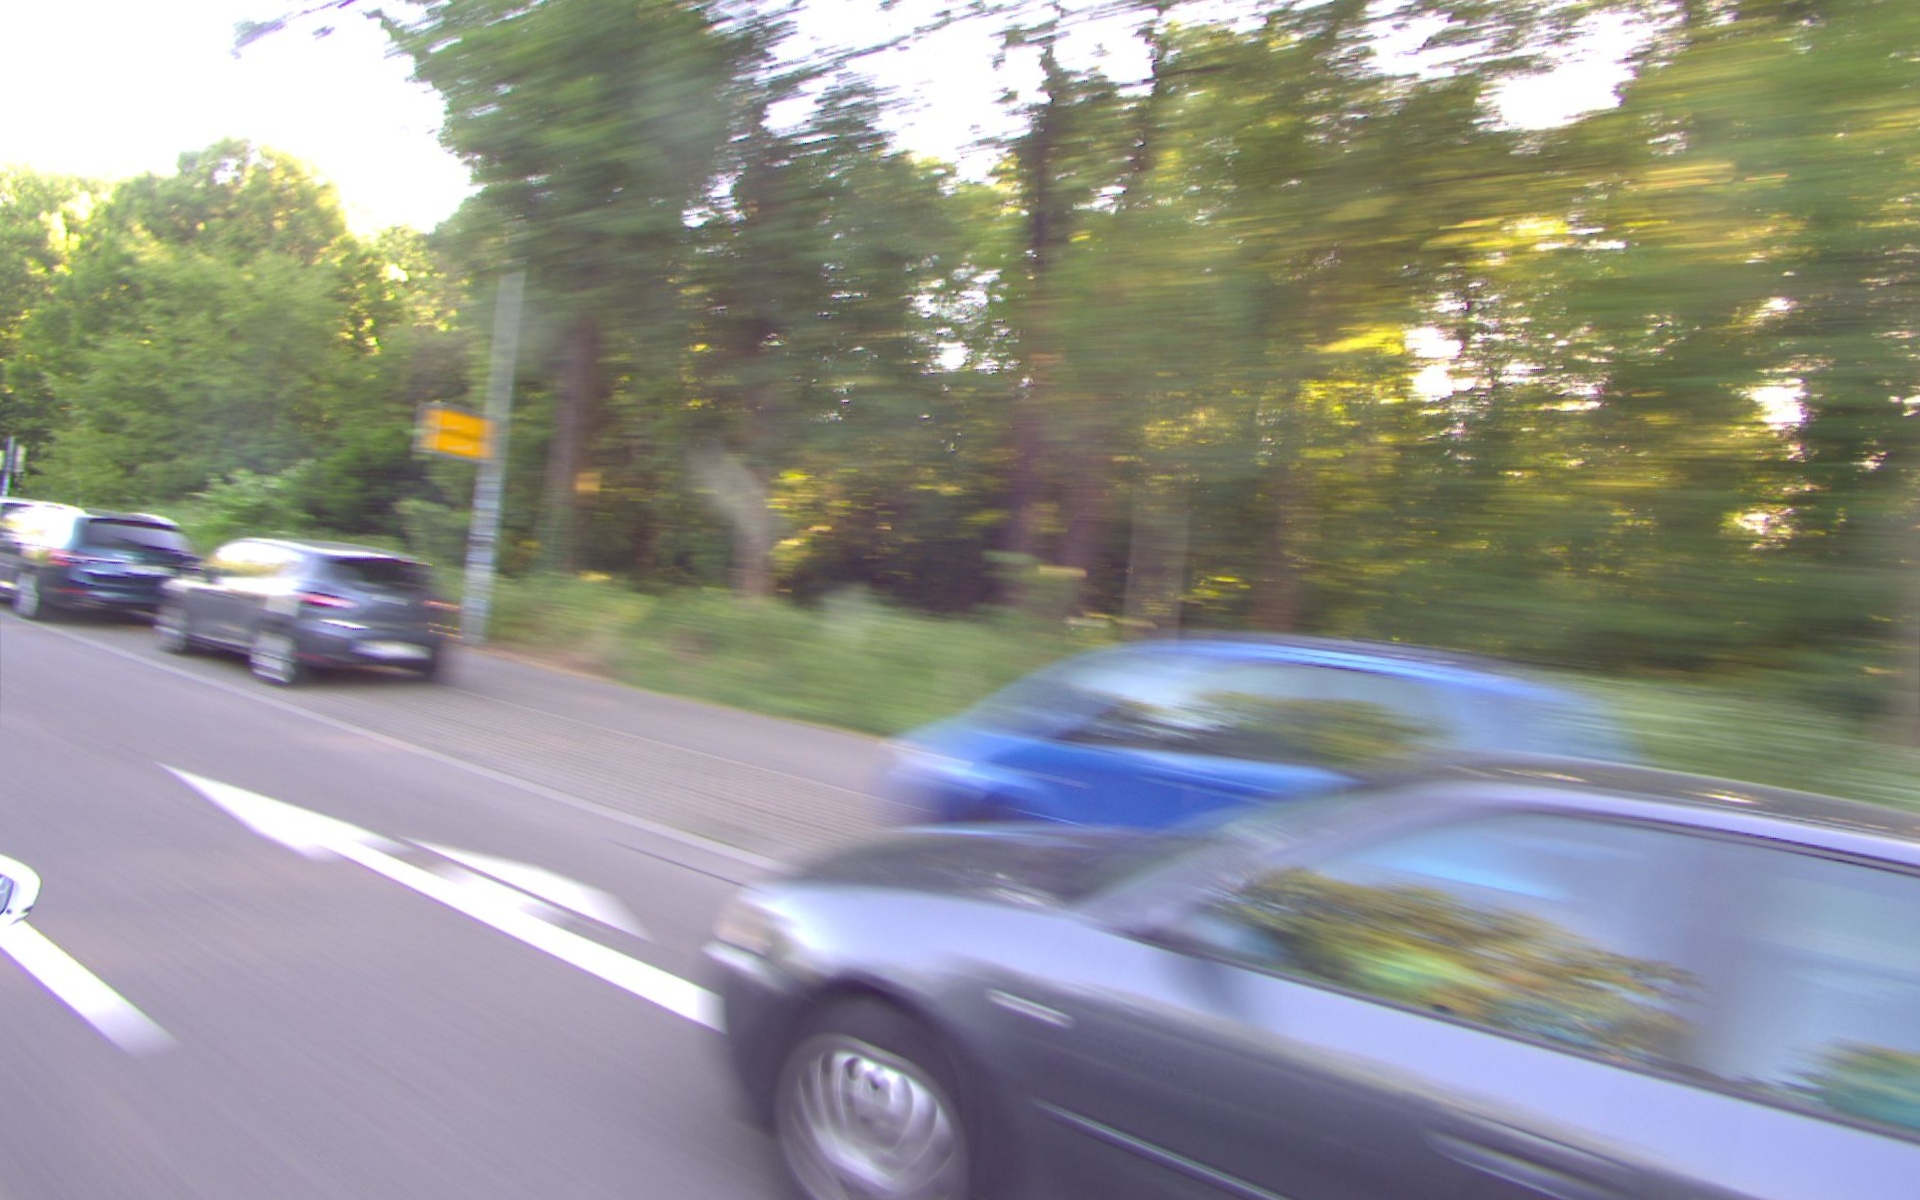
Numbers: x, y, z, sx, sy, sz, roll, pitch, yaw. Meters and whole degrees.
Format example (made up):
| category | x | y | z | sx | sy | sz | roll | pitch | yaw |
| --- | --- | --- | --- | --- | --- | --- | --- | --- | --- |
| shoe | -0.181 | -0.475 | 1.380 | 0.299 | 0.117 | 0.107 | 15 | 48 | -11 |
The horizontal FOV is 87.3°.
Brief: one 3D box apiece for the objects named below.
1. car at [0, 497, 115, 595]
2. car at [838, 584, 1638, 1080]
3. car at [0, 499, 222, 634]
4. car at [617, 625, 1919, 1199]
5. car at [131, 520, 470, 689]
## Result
| category | x | y | z | sx | sy | sz | roll | pitch | yaw |
| --- | --- | --- | --- | --- | --- | --- | --- | --- | --- |
| car | -16.839 | -1.052 | 17.760 | 3.809 | 1.487 | 1.720 | 6 | 0 | 31 |
| car | 1.425 | 0.957 | 5.713 | 3.765 | 1.654 | 1.816 | 6 | 0 | 31 |
| car | -12.553 | -0.565 | 14.230 | 5.035 | 1.487 | 1.762 | 6 | 0 | 34 |
| car | 1.259 | 1.025 | 2.394 | 3.927 | 1.375 | 1.678 | 7 | -1 | 31 |
| car | -7.538 | 0.009 | 11.372 | 4.163 | 1.422 | 1.673 | 6 | 0 | 34 |
